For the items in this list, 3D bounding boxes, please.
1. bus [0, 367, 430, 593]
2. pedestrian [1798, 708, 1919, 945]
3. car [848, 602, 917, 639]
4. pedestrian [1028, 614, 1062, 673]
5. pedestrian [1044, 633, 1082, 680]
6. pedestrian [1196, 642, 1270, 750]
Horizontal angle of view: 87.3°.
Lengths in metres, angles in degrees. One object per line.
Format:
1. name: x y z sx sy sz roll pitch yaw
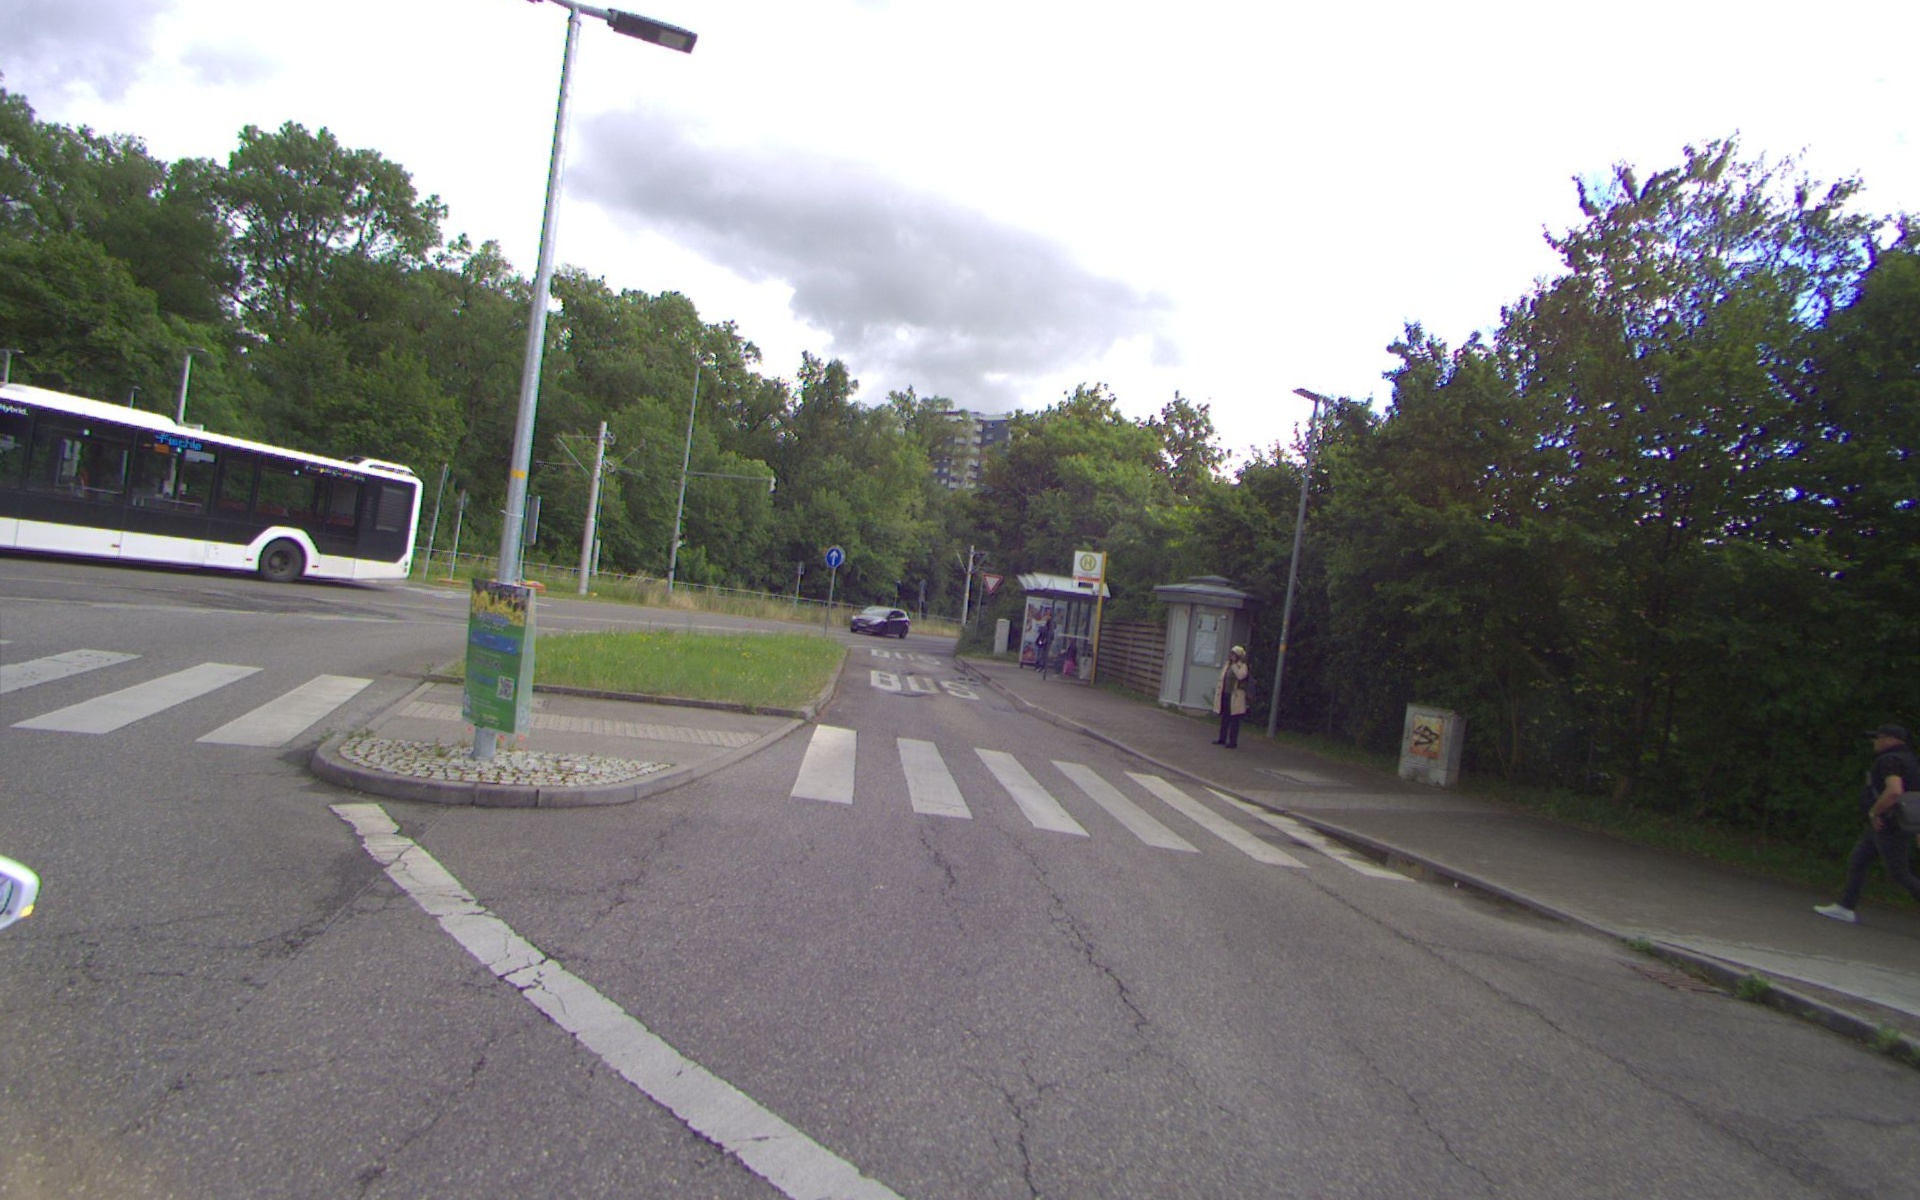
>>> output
1. bus: -16.670 -2.310 19.816 2.625 3.241 12.204 8 -1 20
2. pedestrian: 8.242 1.958 8.759 0.845 1.844 0.981 7 0 -18
3. car: -3.825 1.060 50.515 1.728 1.451 4.431 8 -1 18
4. pedestrian: 2.547 1.295 30.182 0.757 1.670 0.687 7 0 1
5. pedestrian: 2.868 1.581 28.133 0.738 1.184 0.770 7 0 -9
6. pedestrian: 4.433 1.548 16.372 0.676 1.614 0.769 7 1 -12
